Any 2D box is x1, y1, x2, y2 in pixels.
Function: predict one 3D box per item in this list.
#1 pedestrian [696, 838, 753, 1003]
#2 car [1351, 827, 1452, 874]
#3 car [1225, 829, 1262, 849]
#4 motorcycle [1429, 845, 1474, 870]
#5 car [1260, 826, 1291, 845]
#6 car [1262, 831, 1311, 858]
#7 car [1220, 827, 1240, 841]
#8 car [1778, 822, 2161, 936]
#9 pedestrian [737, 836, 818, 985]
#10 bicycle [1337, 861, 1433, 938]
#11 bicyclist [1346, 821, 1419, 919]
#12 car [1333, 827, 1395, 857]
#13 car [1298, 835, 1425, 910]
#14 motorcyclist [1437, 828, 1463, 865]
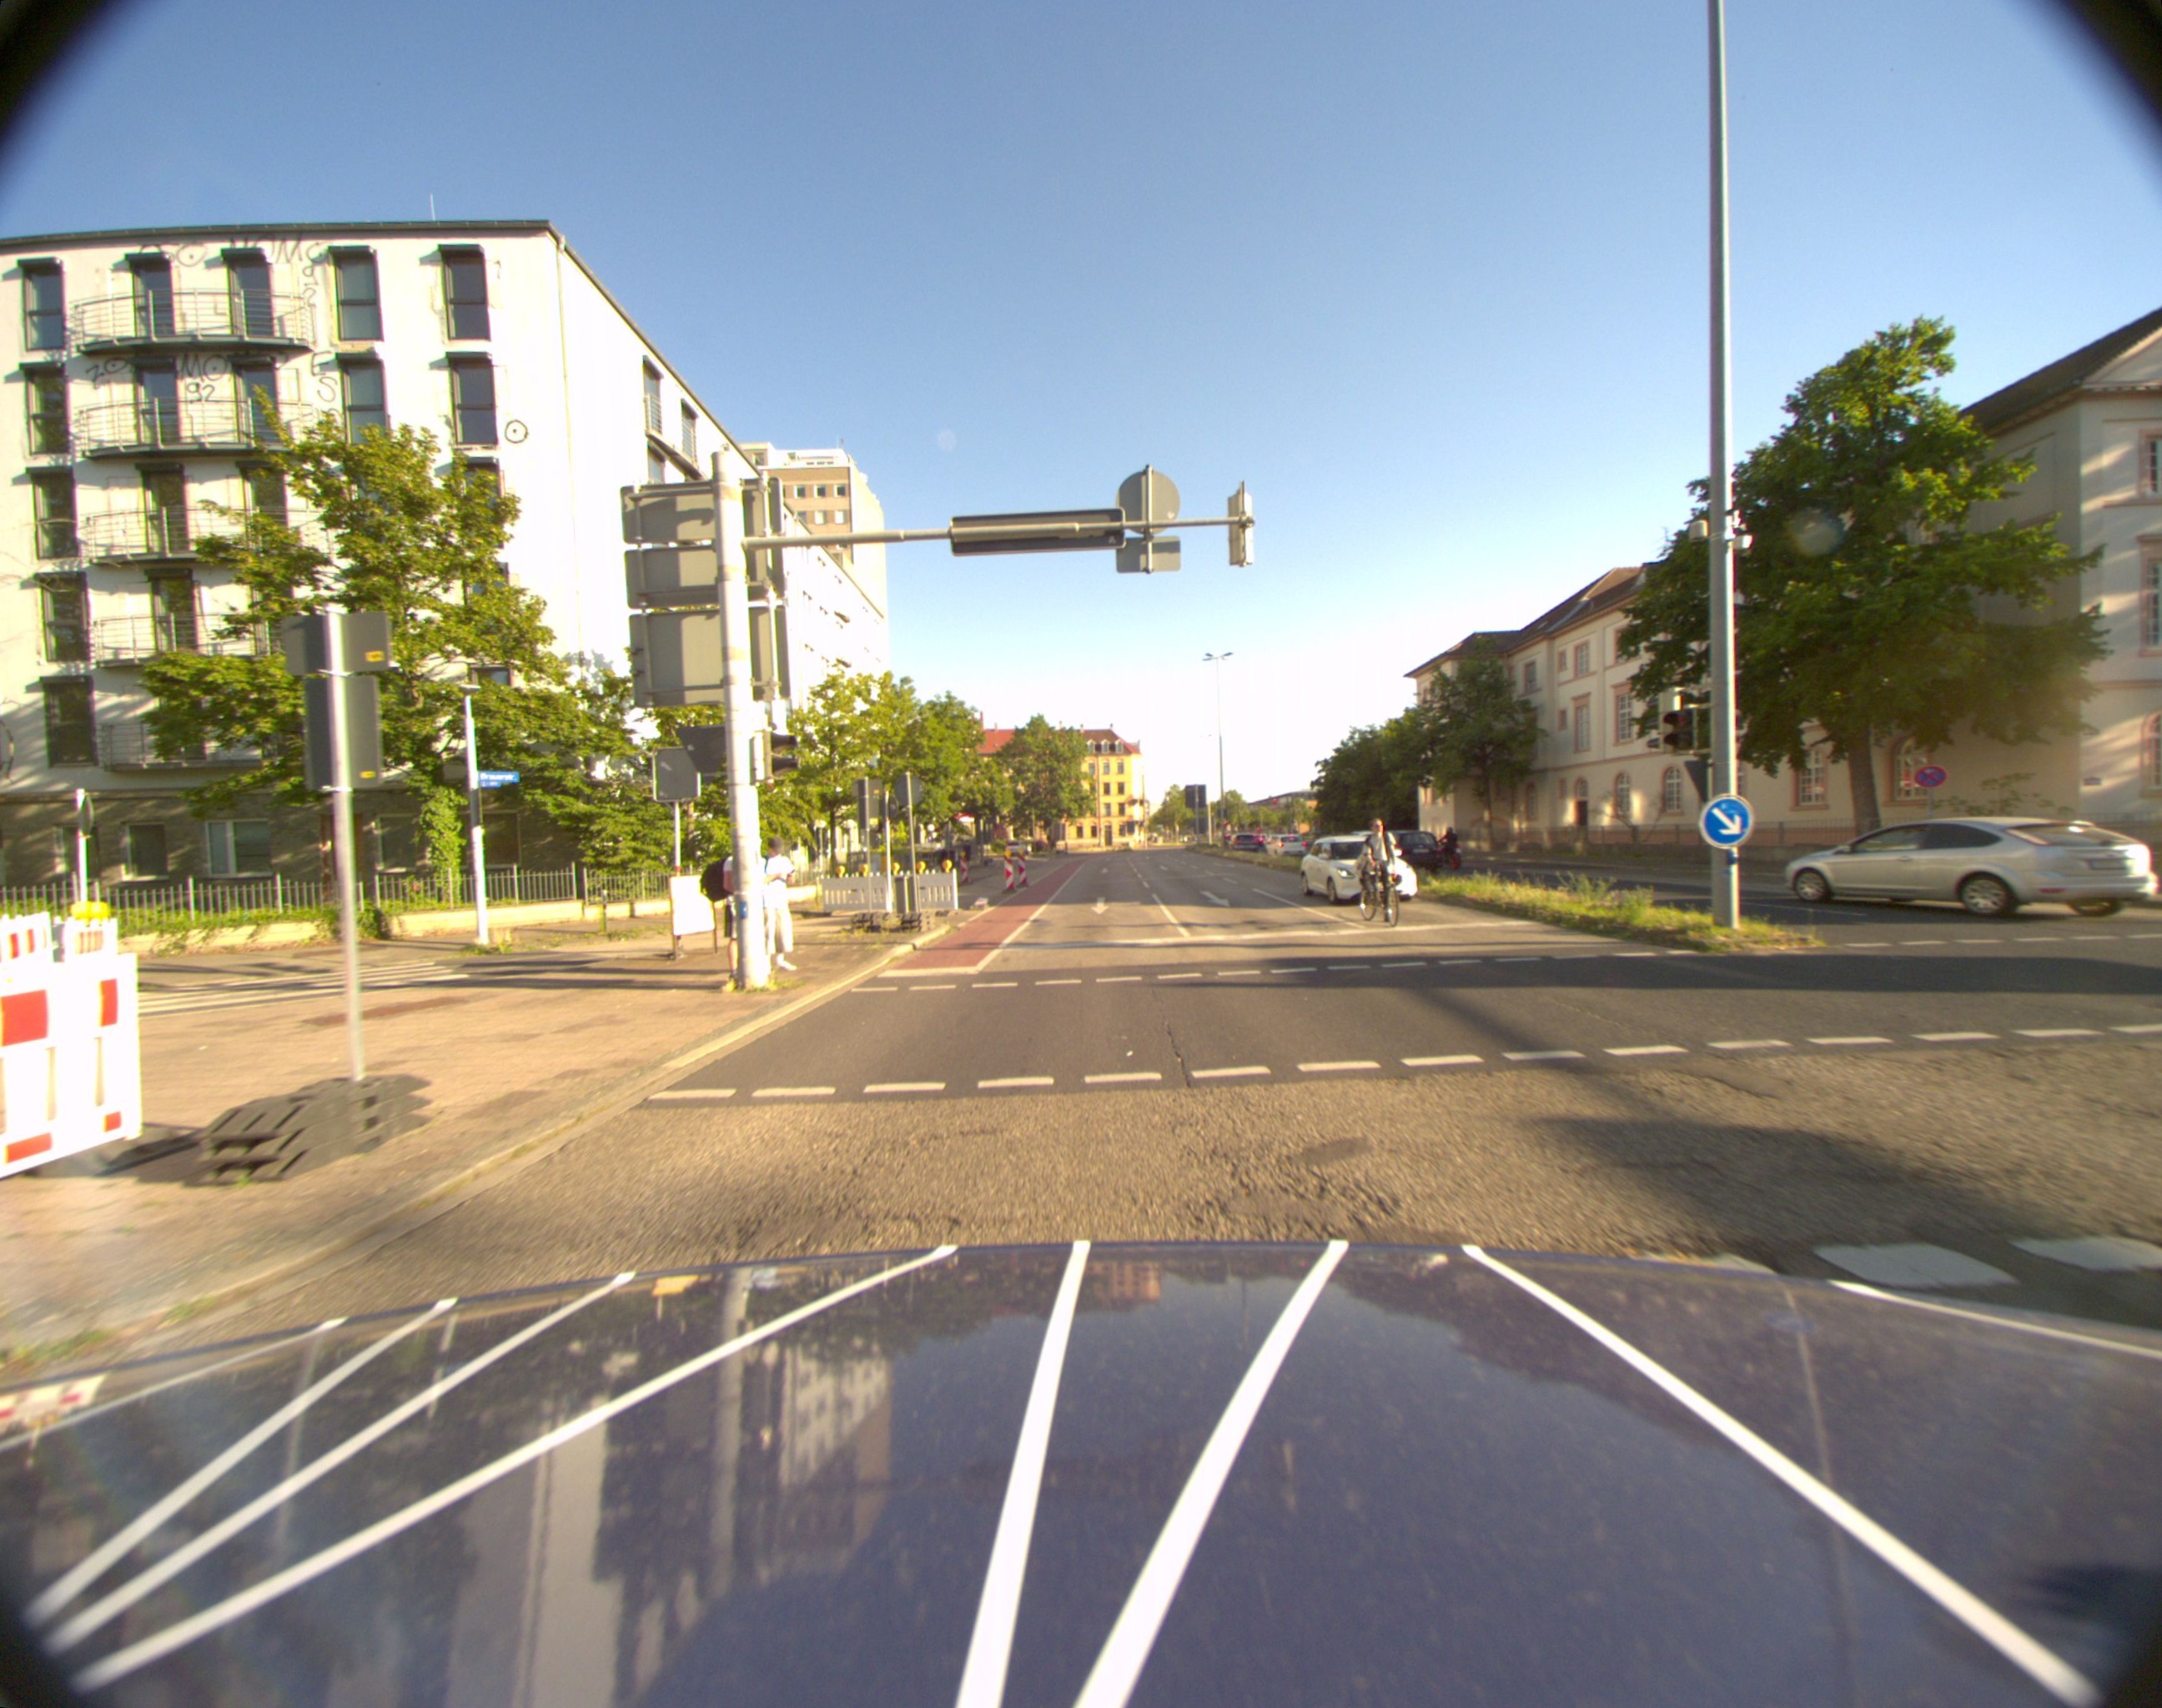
[{"bbox_3d":[-4.211,0.753,8.977,0.500,1.867,0.601,-3,3,-26],"label":"pedestrian"},{"bbox_3d":[11.100,-0.190,26.653,1.764,1.454,4.291,-2,2,1],"label":"car"},{"bbox_3d":[12.793,-1.241,60.061,2.048,1.454,4.291,-2,2,1],"label":"car"},{"bbox_3d":[14.375,0.103,29.528,0.640,0.874,2.160,-2,2,-1],"label":"motorcycle"},{"bbox_3d":[17.879,-1.716,70.009,1.764,1.627,4.291,-2,2,1],"label":"car"},{"bbox_3d":[11.957,-0.606,44.559,1.764,1.454,4.291,-2,2,1],"label":"car"},{"bbox_3d":[18.130,-2.437,92.190,2.045,1.545,4.296,-2,2,15],"label":"car"},{"bbox_3d":[14.052,0.269,12.238,1.764,1.454,4.291,-2,2,1],"label":"car"},{"bbox_3d":[-3.999,0.714,10.028,0.576,1.867,0.711,0,3,37],"label":"pedestrian"},{"bbox_3d":[5.143,0.731,13.030,0.833,1.101,2.080,-2,2,1],"label":"bicycle"},{"bbox_3d":[5.148,0.247,13.035,0.838,1.595,1.023,-2,2,1],"label":"bicyclist"},{"bbox_3d":[15.102,-0.664,40.758,1.764,1.454,4.291,-2,2,1],"label":"car"},{"bbox_3d":[6.390,0.350,17.738,1.764,1.490,3.708,-2,2,3],"label":"car"},{"bbox_3d":[14.366,-0.289,29.583,0.620,1.399,0.755,-2,2,-1],"label":"motorcyclist"}]
